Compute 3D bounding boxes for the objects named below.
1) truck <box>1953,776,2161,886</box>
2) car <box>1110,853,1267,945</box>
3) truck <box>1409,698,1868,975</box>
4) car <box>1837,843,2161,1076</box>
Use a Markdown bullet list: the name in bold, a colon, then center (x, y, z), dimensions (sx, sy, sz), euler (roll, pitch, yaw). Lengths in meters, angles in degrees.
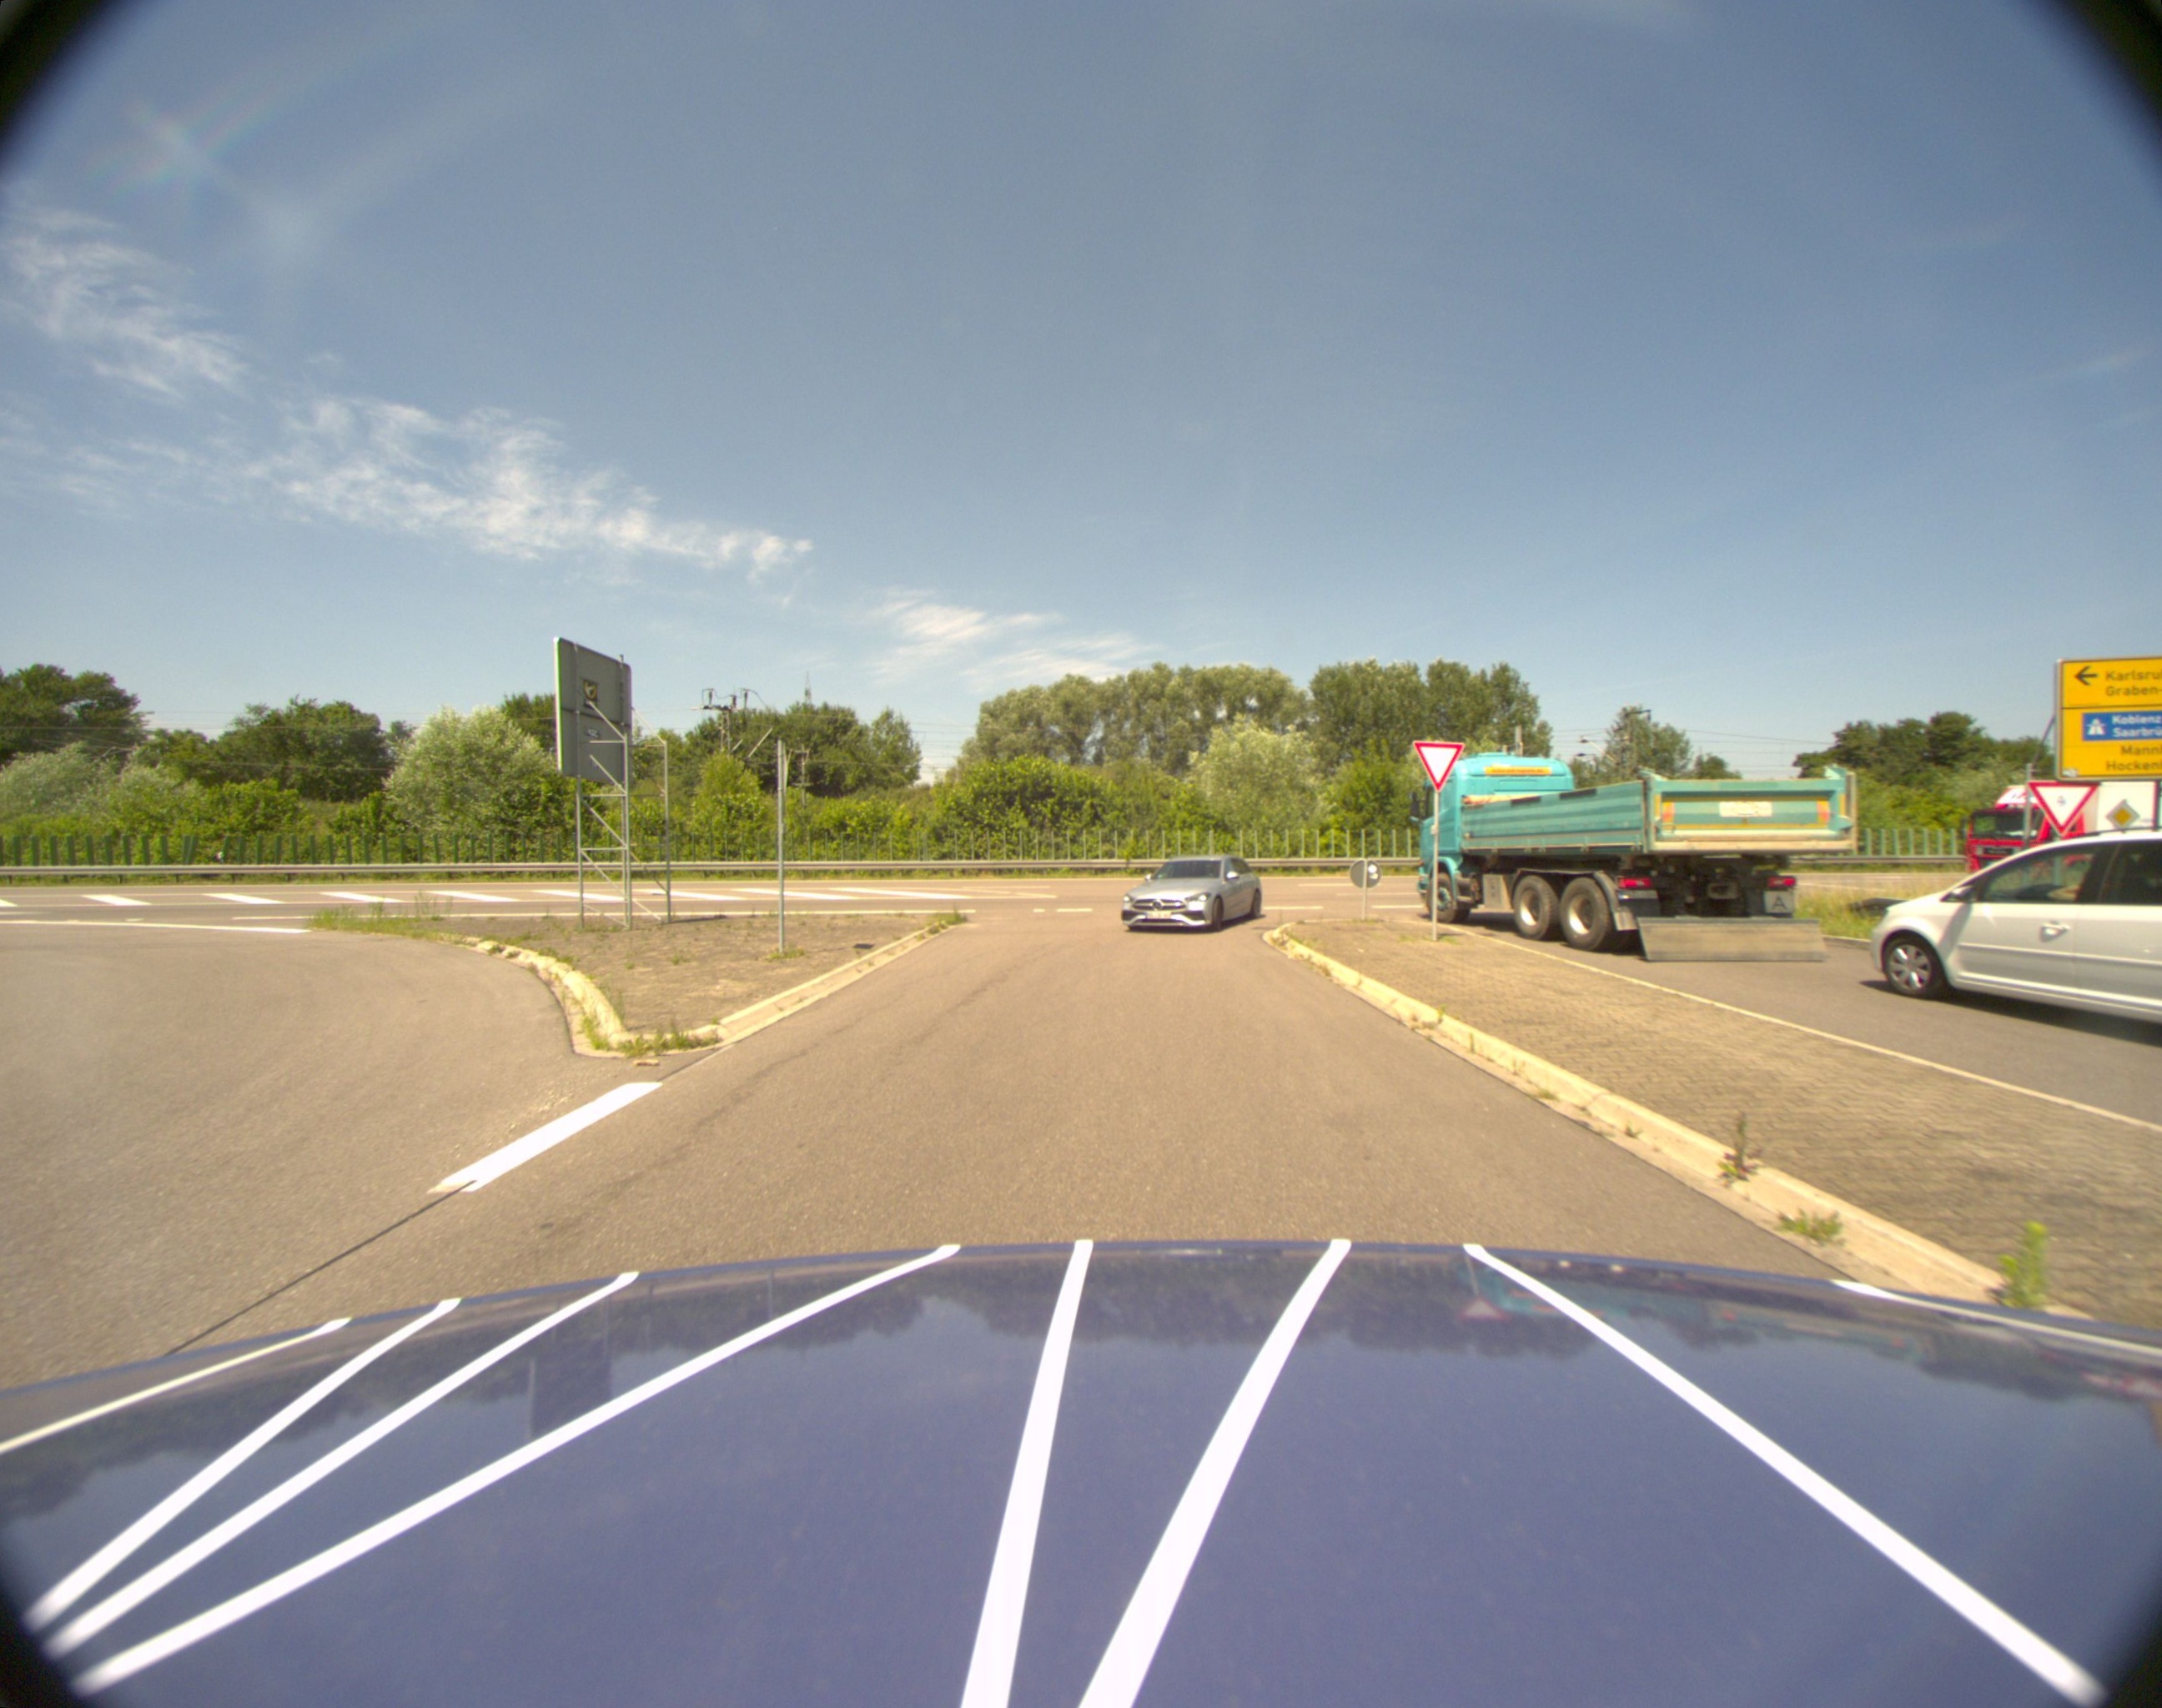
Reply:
- **truck**: center (37.194, -0.899, 27.115), dimensions (9.551, 3.559, 2.724), euler (-2, 1, -4)
- **car**: center (2.354, 0.786, 15.598), dimensions (1.820, 1.478, 4.155), euler (0, 2, 29)
- **truck**: center (8.587, -0.230, 13.295), dimensions (2.608, 3.451, 7.610), euler (0, 0, 2)
- **car**: center (8.610, 0.736, 5.829), dimensions (1.775, 1.611, 4.333), euler (-2, 0, 9)
